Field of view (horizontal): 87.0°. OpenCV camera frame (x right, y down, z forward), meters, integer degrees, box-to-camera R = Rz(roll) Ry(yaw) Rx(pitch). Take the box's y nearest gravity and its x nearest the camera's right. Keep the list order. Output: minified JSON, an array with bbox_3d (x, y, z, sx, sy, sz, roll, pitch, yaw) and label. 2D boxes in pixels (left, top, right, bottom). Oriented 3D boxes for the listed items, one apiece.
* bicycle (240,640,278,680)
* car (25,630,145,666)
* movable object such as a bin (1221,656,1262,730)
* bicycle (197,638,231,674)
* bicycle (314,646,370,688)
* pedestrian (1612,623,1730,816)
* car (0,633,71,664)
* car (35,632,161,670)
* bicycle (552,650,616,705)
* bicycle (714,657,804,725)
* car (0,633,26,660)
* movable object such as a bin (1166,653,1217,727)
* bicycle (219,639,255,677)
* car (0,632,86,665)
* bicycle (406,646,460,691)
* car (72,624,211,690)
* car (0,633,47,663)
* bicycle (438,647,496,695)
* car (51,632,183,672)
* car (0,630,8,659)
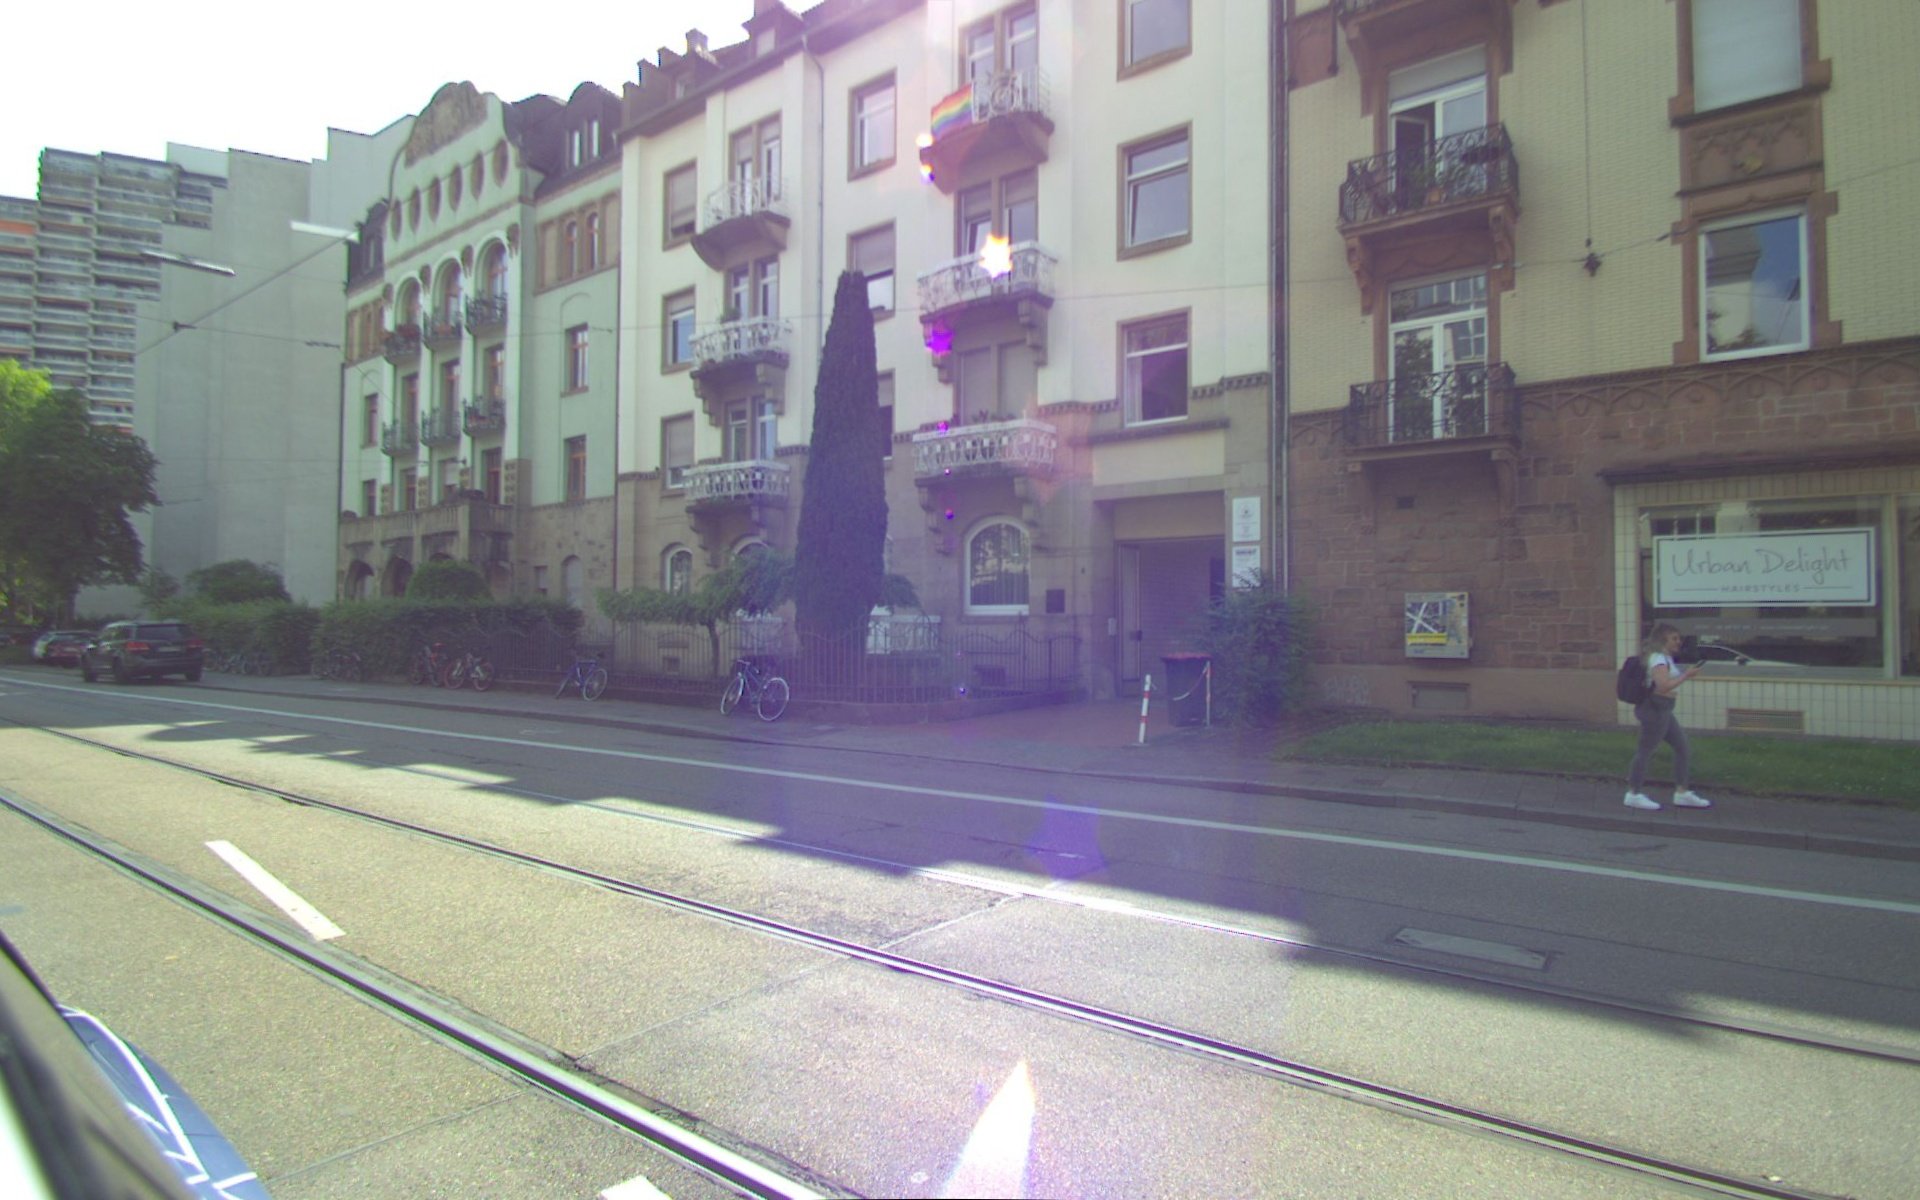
[{"bbox_3d":[-21.230,1.801,30.629,1.785,1.144,0.462,-2,-3,40],"label":"bicycle"},{"bbox_3d":[-38.928,2.110,45.108,3.938,1.519,2.002,2,-3,-42],"label":"car"},{"bbox_3d":[4.087,1.344,14.717,0.531,1.037,0.475,0,-2,11],"label":"movable object such as a bin"},{"bbox_3d":[-24.412,1.814,33.117,1.785,1.144,0.462,-2,-3,40],"label":"bicycle"},{"bbox_3d":[-15.861,1.698,25.973,1.979,1.003,0.597,-2,-3,40],"label":"bicycle"},{"bbox_3d":[6.126,0.981,8.723,0.764,1.553,0.749,-2,-3,39],"label":"pedestrian"},{"bbox_3d":[-46.701,2.379,50.142,3.938,1.519,2.002,2,-3,-42],"label":"car"},{"bbox_3d":[-36.319,2.115,42.697,3.938,1.519,2.002,2,-3,-42],"label":"car"},{"bbox_3d":[-7.379,1.489,19.810,0.461,1.003,1.788,2,-3,-45],"label":"bicycle"},{"bbox_3d":[-3.303,1.458,16.512,0.461,1.003,1.980,2,-3,-43],"label":"bicycle"},{"bbox_3d":[-54.270,2.569,55.868,3.938,1.519,2.002,2,-3,-42],"label":"car"},{"bbox_3d":[3.375,1.306,14.775,0.697,1.037,0.475,0,-2,11],"label":"movable object such as a bin"},{"bbox_3d":[-22.756,1.818,31.829,1.785,1.144,0.462,-2,-3,40],"label":"bicycle"},{"bbox_3d":[-44.243,2.303,48.167,3.938,1.519,2.002,2,-3,-42],"label":"car"},{"bbox_3d":[-12.385,1.597,23.765,1.785,1.003,0.462,-2,-3,40],"label":"bicycle"},{"bbox_3d":[-22.963,1.539,28.350,4.392,1.708,1.899,-1,-2,36],"label":"car"},{"bbox_3d":[-49.385,2.467,51.788,3.938,1.519,2.002,2,-3,-42],"label":"car"},{"bbox_3d":[-10.968,1.562,22.503,1.785,1.003,0.462,-2,-3,40],"label":"bicycle"},{"bbox_3d":[-33.634,2.033,40.445,3.938,1.519,2.002,2,-3,-42],"label":"car"},{"bbox_3d":[-57.172,2.547,57.812,3.938,1.695,2.002,2,-3,-42],"label":"car"}]
